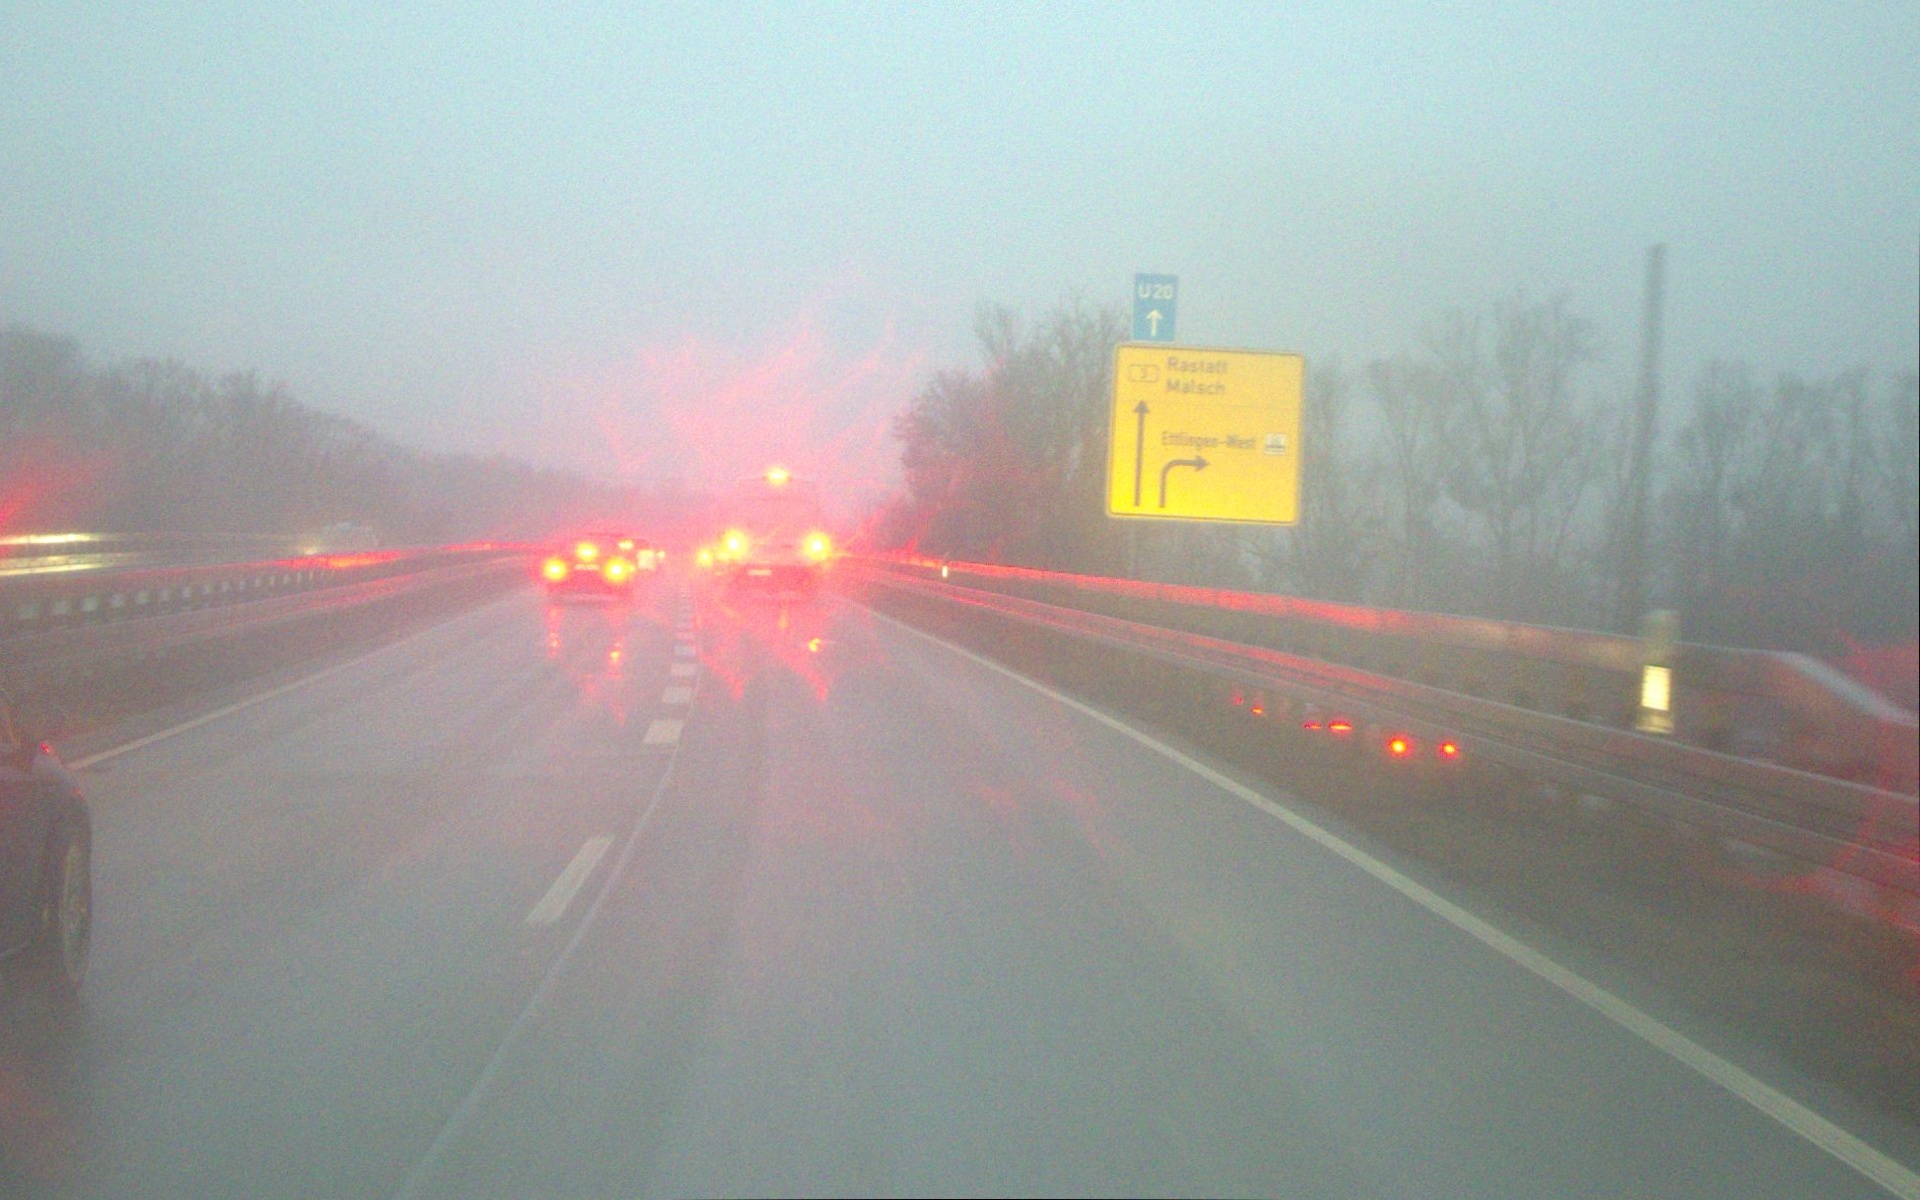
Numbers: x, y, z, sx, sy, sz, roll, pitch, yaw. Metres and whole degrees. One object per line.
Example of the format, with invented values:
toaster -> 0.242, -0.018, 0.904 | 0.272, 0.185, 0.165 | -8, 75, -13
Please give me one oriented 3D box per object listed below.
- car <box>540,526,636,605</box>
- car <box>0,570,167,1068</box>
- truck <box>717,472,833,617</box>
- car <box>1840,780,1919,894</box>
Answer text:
car -> -7.843, -0.707, 72.796 | 1.834, 1.532, 4.000 | 2, -1, -4
car -> -3.566, 0.605, 10.518 | 1.625, 1.387, 4.001 | 0, 1, -4
truck -> -4.110, -1.170, 75.667 | 2.382, 2.899, 4.674 | 1, -2, -4
car -> 12.758, 3.122, 43.788 | 1.676, 1.277, 4.000 | 7, -1, -4
